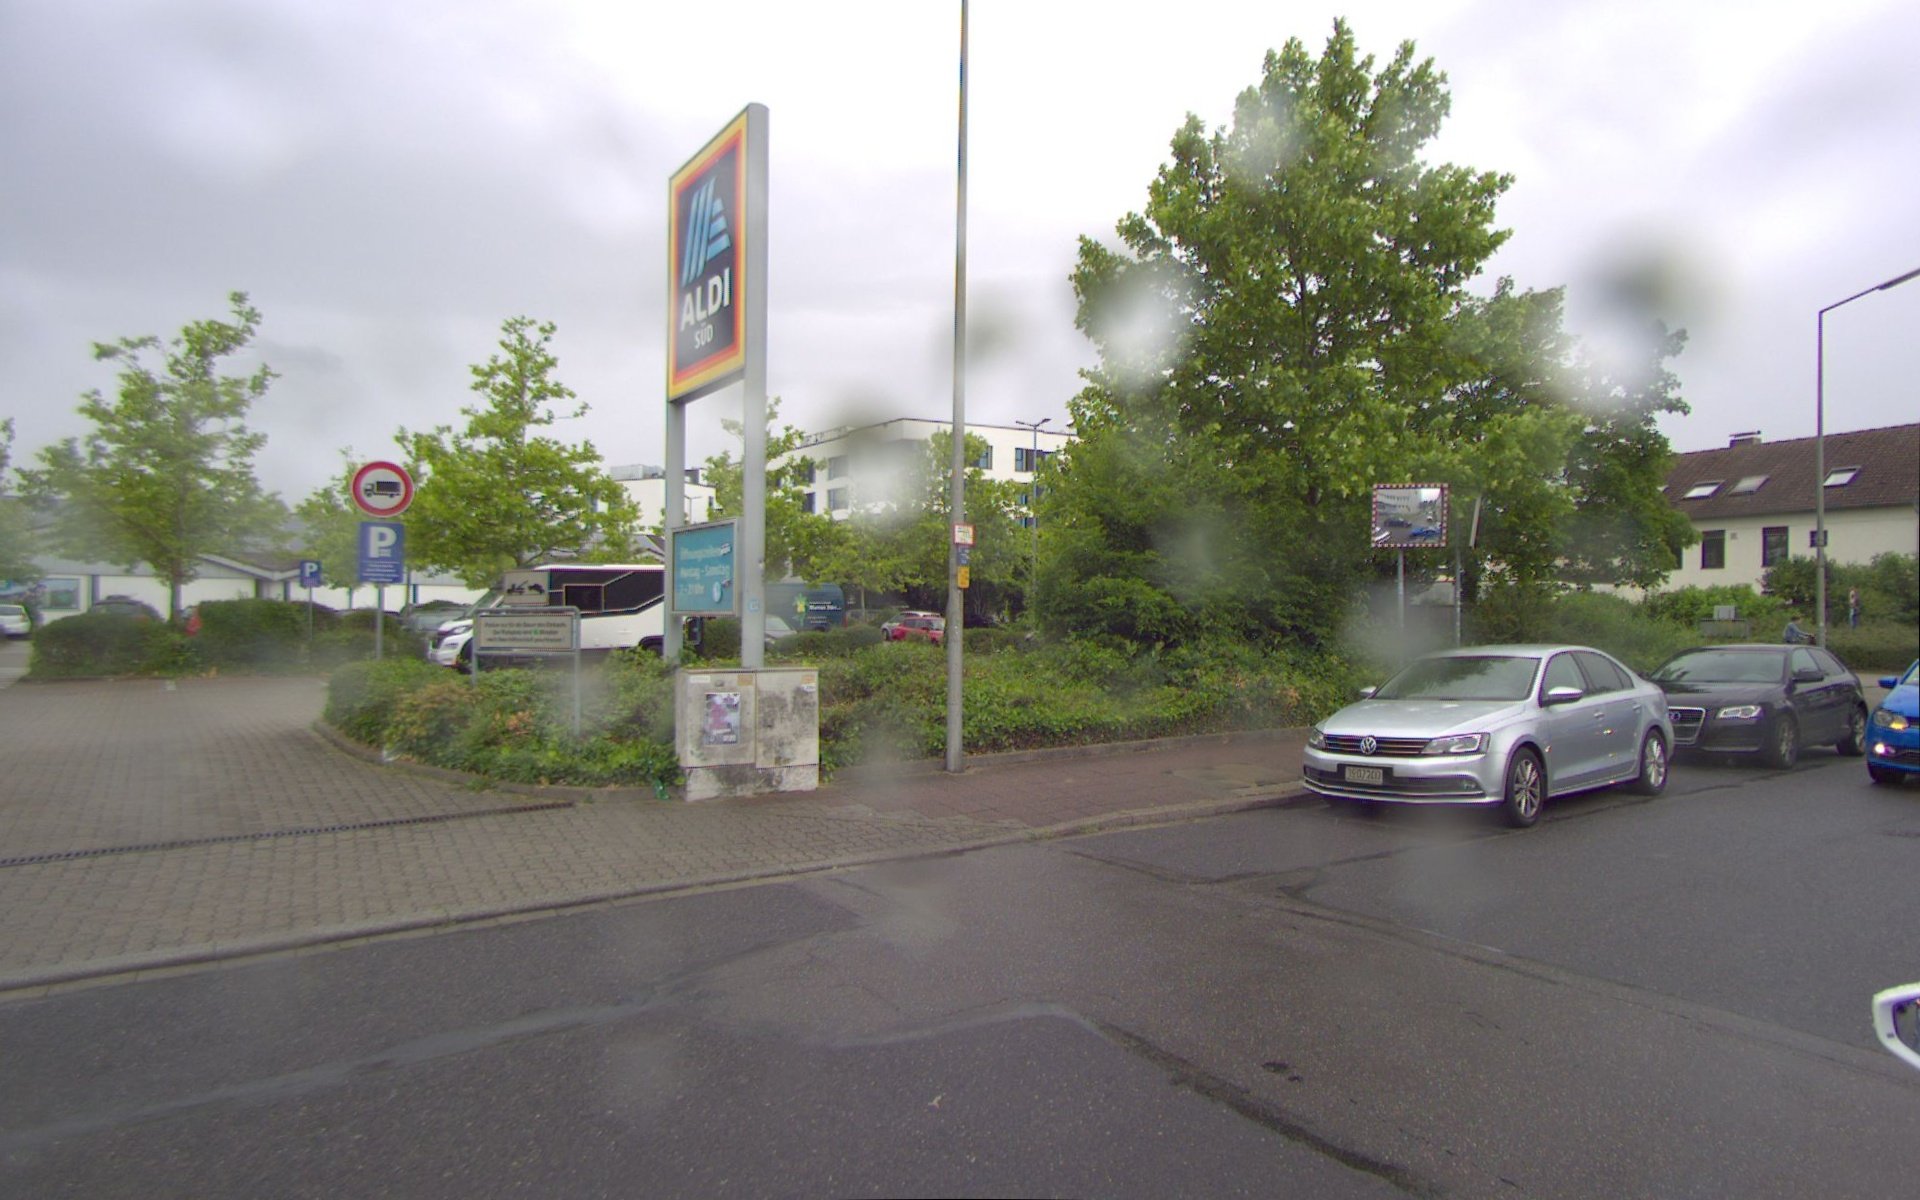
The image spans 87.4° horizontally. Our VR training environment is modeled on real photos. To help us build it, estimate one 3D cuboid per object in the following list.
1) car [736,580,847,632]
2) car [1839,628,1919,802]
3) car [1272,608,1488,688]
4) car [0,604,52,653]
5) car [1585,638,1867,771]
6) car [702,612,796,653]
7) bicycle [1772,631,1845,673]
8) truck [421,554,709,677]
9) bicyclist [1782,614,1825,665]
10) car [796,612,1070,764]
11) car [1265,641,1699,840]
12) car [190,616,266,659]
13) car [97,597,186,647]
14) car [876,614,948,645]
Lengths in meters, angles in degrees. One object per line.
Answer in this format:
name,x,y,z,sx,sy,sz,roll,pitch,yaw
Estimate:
car,-7.855,0.315,47.049,4.770,2.327,1.979,1,-1,-38
car,10.642,1.086,10.194,3.799,1.615,1.695,1,-3,-35
car,9.022,0.969,21.848,1.893,1.561,3.958,1,-1,-37
car,-40.785,1.194,43.269,1.980,2.040,3.961,1,-1,-35
car,9.577,1.190,12.489,3.799,1.385,1.695,1,-3,-35
car,-7.333,1.095,34.644,1.741,1.320,3.960,1,-1,-36
bicycle,25.938,1.571,30.734,1.632,1.229,0.496,0,-1,32
truck,-9.606,0.405,24.890,6.342,2.692,1.978,1,-1,-39
bicyclist,25.873,1.205,30.821,0.925,1.537,0.613,0,0,32
car,-0.464,0.967,12.543,1.696,1.479,3.544,1,1,-36
car,4.935,1.095,9.227,4.557,1.385,1.694,1,-3,-37
car,-24.963,1.247,34.342,1.981,1.363,3.960,1,-1,-36
car,-27.015,0.702,33.273,1.981,1.542,3.960,1,-1,-36
car,-2.543,1.516,52.794,1.981,1.549,3.960,1,-1,-36
